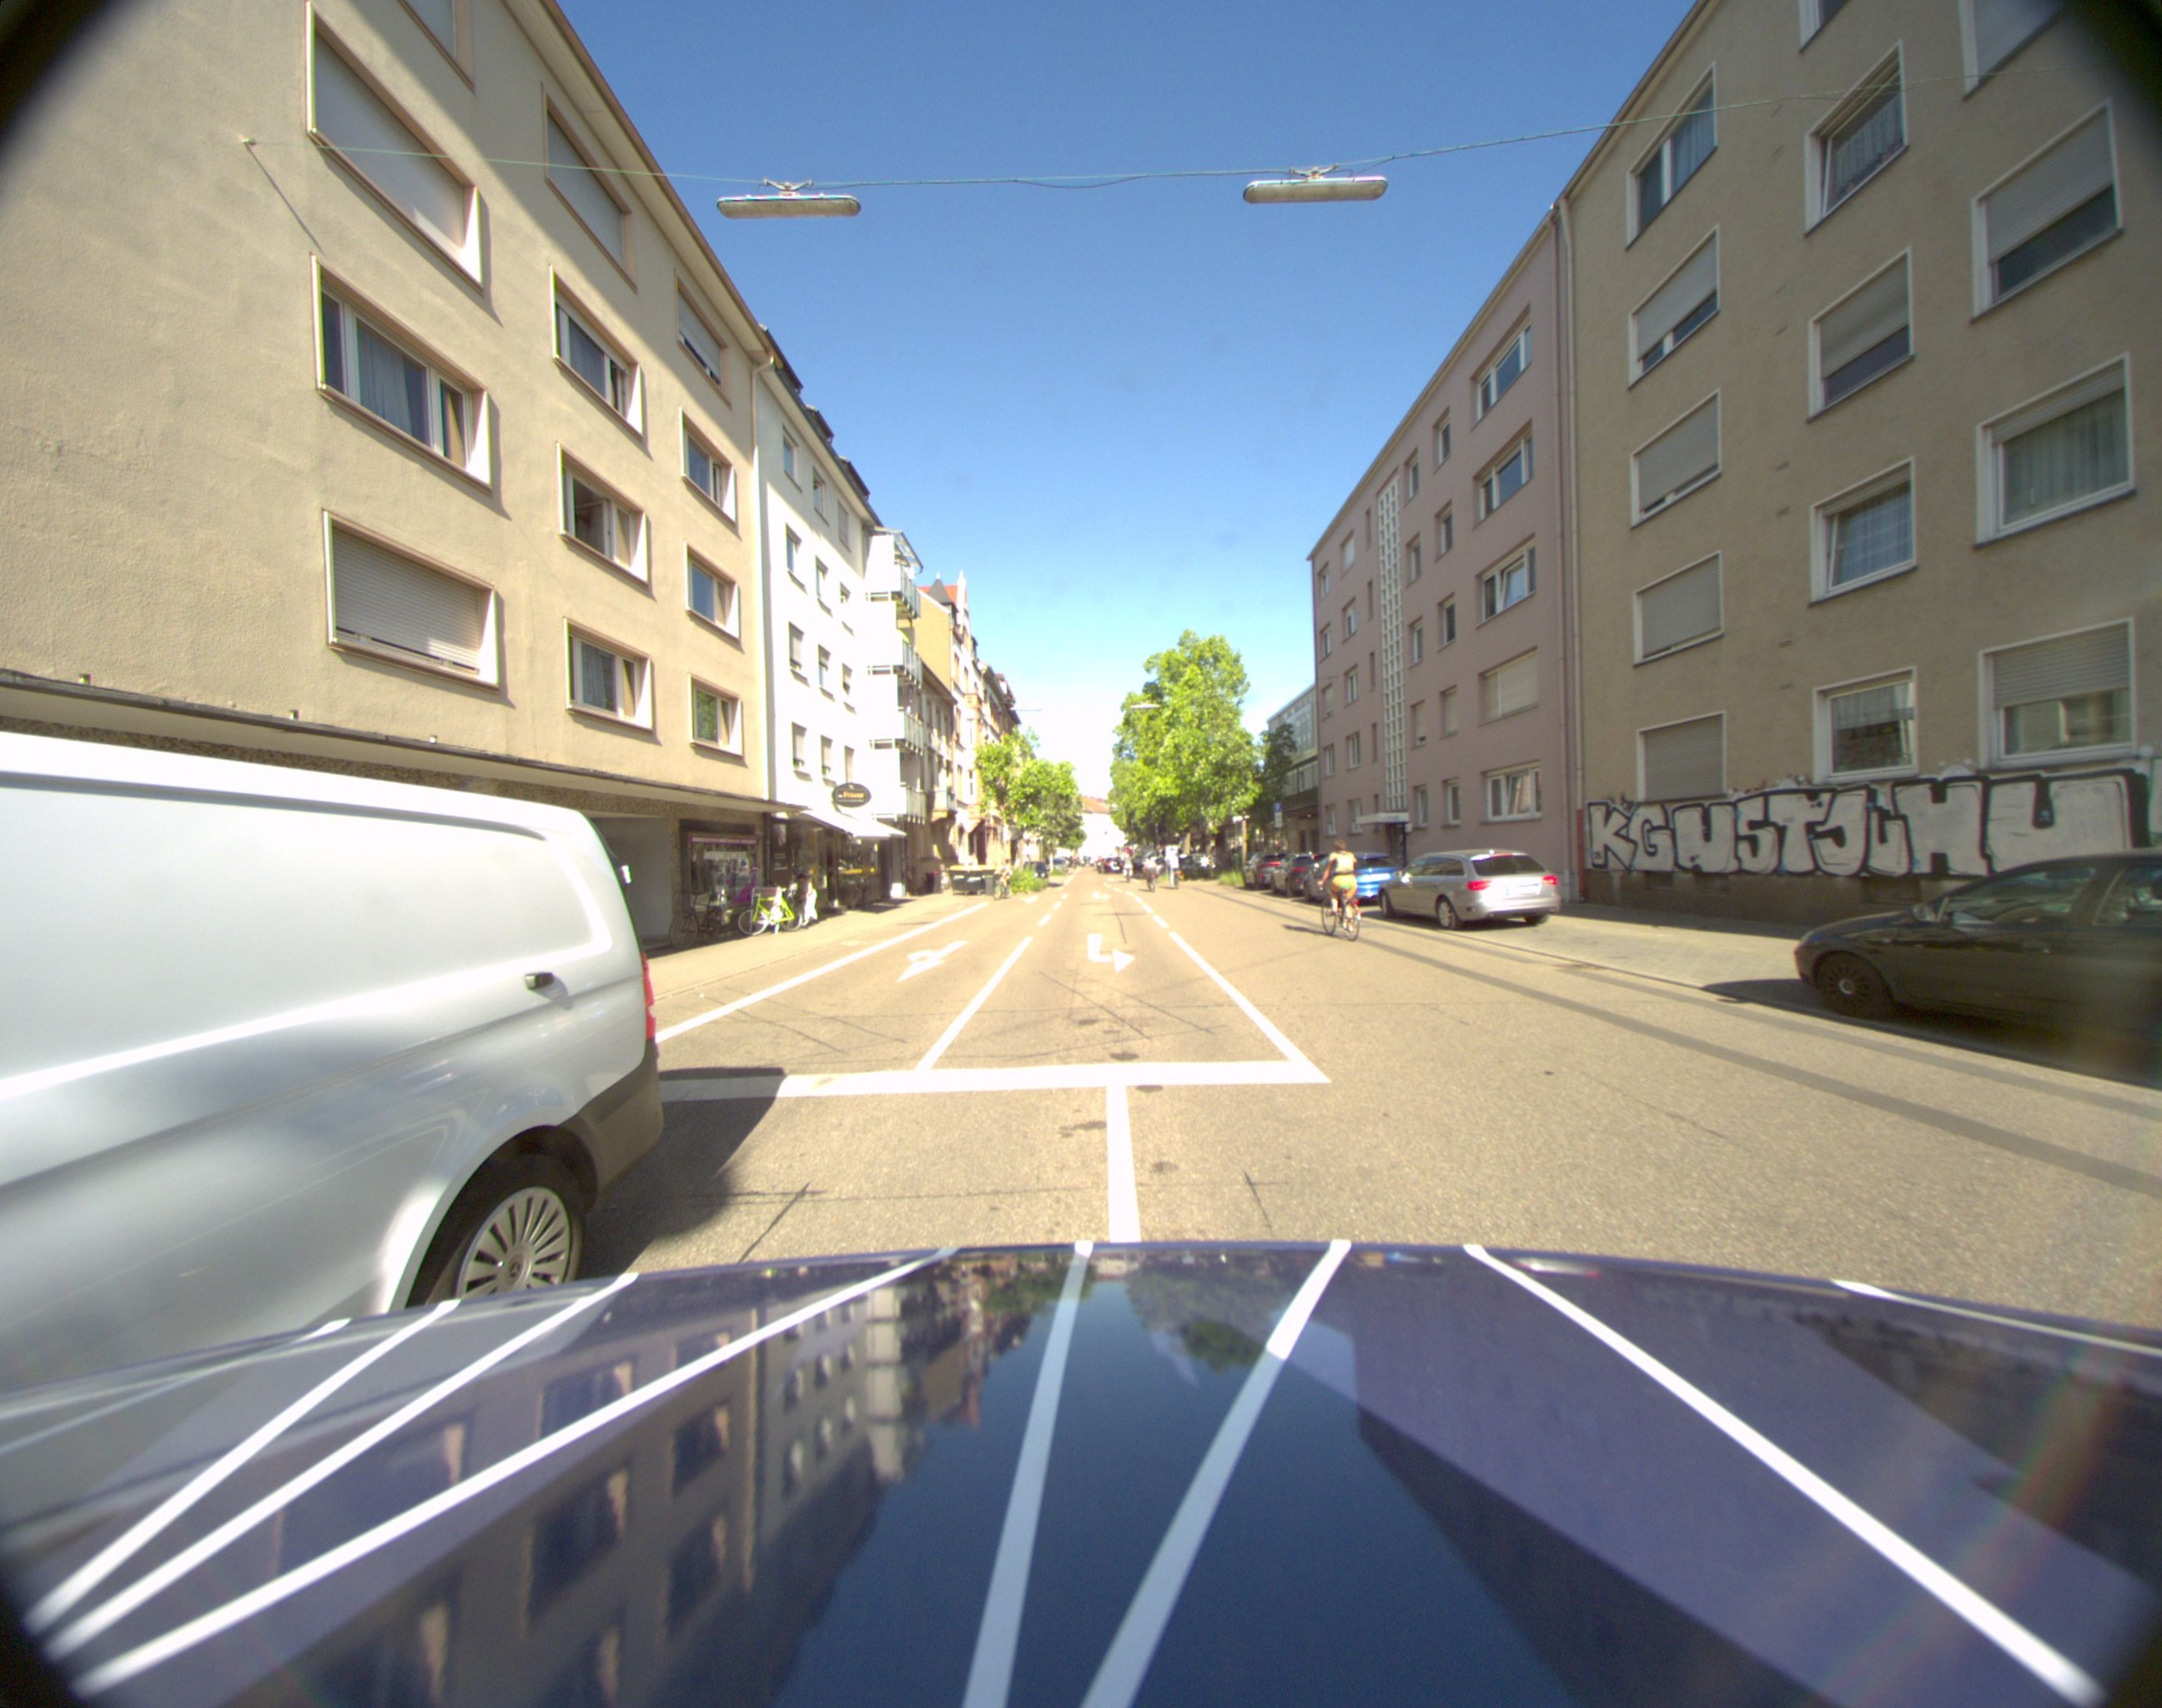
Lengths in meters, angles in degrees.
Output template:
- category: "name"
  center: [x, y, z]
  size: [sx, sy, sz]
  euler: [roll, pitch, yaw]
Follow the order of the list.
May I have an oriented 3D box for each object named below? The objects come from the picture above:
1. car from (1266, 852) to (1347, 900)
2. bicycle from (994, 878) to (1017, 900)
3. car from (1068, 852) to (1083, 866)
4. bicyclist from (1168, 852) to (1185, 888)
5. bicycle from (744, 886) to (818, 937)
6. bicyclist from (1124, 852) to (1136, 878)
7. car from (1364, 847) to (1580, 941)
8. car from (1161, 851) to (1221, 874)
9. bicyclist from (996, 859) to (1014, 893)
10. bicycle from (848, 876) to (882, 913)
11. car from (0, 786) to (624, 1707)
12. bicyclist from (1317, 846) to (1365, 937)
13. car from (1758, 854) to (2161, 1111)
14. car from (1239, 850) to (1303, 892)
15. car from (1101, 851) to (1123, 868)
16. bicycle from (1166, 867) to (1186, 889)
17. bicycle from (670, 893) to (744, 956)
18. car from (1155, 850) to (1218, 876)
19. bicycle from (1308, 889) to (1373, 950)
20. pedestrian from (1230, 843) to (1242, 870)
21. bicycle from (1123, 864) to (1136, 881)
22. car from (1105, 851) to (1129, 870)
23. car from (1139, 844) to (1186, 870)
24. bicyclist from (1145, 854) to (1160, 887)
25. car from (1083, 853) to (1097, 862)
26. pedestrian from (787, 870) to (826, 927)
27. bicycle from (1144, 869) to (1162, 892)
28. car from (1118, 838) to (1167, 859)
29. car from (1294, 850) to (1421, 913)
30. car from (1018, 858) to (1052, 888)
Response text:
- category: "car"
  center: [7.843, 0.715, 26.824]
  size: [1.727, 1.459, 4.158]
  euler: [-4, 0, 3]
- category: "bicycle"
  center: [-3.111, 1.413, 31.331]
  size: [0.582, 0.801, 1.710]
  euler: [-2, 0, 6]
- category: "car"
  center: [-0.661, 0.563, 90.905]
  size: [1.627, 1.586, 3.547]
  euler: [-2, 0, 1]
- category: "bicyclist"
  center: [4.346, 0.726, 34.760]
  size: [0.681, 1.621, 0.899]
  euler: [0, 1, 1]
- category: "bicycle"
  center: [-7.130, 1.342, 18.059]
  size: [1.497, 1.100, 0.722]
  euler: [-2, 0, -31]
- category: "bicyclist"
  center: [2.926, 0.657, 45.762]
  size: [0.681, 1.567, 0.899]
  euler: [0, 1, 1]
- category: "car"
  center: [7.598, 0.680, 15.423]
  size: [1.828, 1.494, 4.801]
  euler: [-4, 0, 0]
- category: "car"
  center: [7.775, 0.596, 53.999]
  size: [3.996, 1.543, 1.913]
  euler: [-2, 0, 3]
- category: "bicyclist"
  center: [-3.131, 0.906, 31.269]
  size: [0.582, 1.369, 0.665]
  euler: [-2, 1, 6]
- category: "bicycle"
  center: [-7.223, 1.329, 25.494]
  size: [0.598, 1.137, 1.774]
  euler: [1, 0, 1]
- category: "car"
  center: [-2.739, 0.825, 0.426]
  size: [1.973, 1.800, 4.832]
  euler: [-2, 1, 0]
- category: "bicyclist"
  center: [4.515, 0.634, 13.222]
  size: [0.544, 1.512, 0.774]
  euler: [-2, 1, 1]
- category: "car"
  center: [7.343, 0.782, 5.316]
  size: [1.695, 1.440, 3.856]
  euler: [-4, 0, 0]
- category: "car"
  center: [7.950, 0.657, 32.108]
  size: [1.727, 1.567, 4.158]
  euler: [-4, 0, 3]
- category: "car"
  center: [2.984, 0.532, 73.470]
  size: [1.911, 1.543, 4.000]
  euler: [-2, 0, 1]
- category: "bicycle"
  center: [4.341, 1.076, 34.817]
  size: [0.681, 0.946, 1.933]
  euler: [0, 0, 1]
- category: "bicycle"
  center: [-7.463, 1.371, 15.235]
  size: [0.407, 1.078, 1.801]
  euler: [1, 0, 6]
- category: "car"
  center: [6.978, 0.585, 50.717]
  size: [3.996, 1.543, 1.913]
  euler: [-2, 0, 3]
- category: "bicycle"
  center: [4.536, 1.123, 13.394]
  size: [0.544, 0.897, 1.826]
  euler: [-2, 0, 1]
- category: "pedestrian"
  center: [10.287, 0.162, 50.474]
  size: [0.623, 1.795, 0.502]
  euler: [-2, 1, 2]
- category: "bicycle"
  center: [2.915, 1.113, 45.738]
  size: [0.681, 0.946, 1.933]
  euler: [0, 0, 1]
- category: "car"
  center: [3.037, 0.533, 64.561]
  size: [1.911, 1.543, 4.000]
  euler: [-2, 0, 1]
- category: "car"
  center: [6.944, 0.245, 64.870]
  size: [3.875, 2.031, 1.913]
  euler: [-2, 0, 3]
- category: "bicyclist"
  center: [3.088, 0.704, 32.918]
  size: [0.544, 1.383, 0.788]
  euler: [-2, 1, 0]
- category: "car"
  center: [1.237, 0.466, 103.225]
  size: [1.627, 1.270, 3.547]
  euler: [-2, 0, 3]
- category: "pedestrian"
  center: [-7.215, 1.169, 20.016]
  size: [0.775, 1.434, 0.625]
  euler: [-2, 1, -4]
- category: "bicycle"
  center: [3.103, 1.145, 32.923]
  size: [0.544, 0.897, 1.826]
  euler: [-2, 0, -1]
- category: "car"
  center: [7.477, -0.629, 92.731]
  size: [5.560, 2.379, 1.977]
  euler: [-2, 1, -5]
- category: "car"
  center: [7.757, 0.695, 21.881]
  size: [1.828, 1.494, 4.801]
  euler: [-4, 0, 0]
- category: "car"
  center: [-2.600, 1.064, 43.400]
  size: [1.627, 1.586, 3.547]
  euler: [-2, 0, 1]
